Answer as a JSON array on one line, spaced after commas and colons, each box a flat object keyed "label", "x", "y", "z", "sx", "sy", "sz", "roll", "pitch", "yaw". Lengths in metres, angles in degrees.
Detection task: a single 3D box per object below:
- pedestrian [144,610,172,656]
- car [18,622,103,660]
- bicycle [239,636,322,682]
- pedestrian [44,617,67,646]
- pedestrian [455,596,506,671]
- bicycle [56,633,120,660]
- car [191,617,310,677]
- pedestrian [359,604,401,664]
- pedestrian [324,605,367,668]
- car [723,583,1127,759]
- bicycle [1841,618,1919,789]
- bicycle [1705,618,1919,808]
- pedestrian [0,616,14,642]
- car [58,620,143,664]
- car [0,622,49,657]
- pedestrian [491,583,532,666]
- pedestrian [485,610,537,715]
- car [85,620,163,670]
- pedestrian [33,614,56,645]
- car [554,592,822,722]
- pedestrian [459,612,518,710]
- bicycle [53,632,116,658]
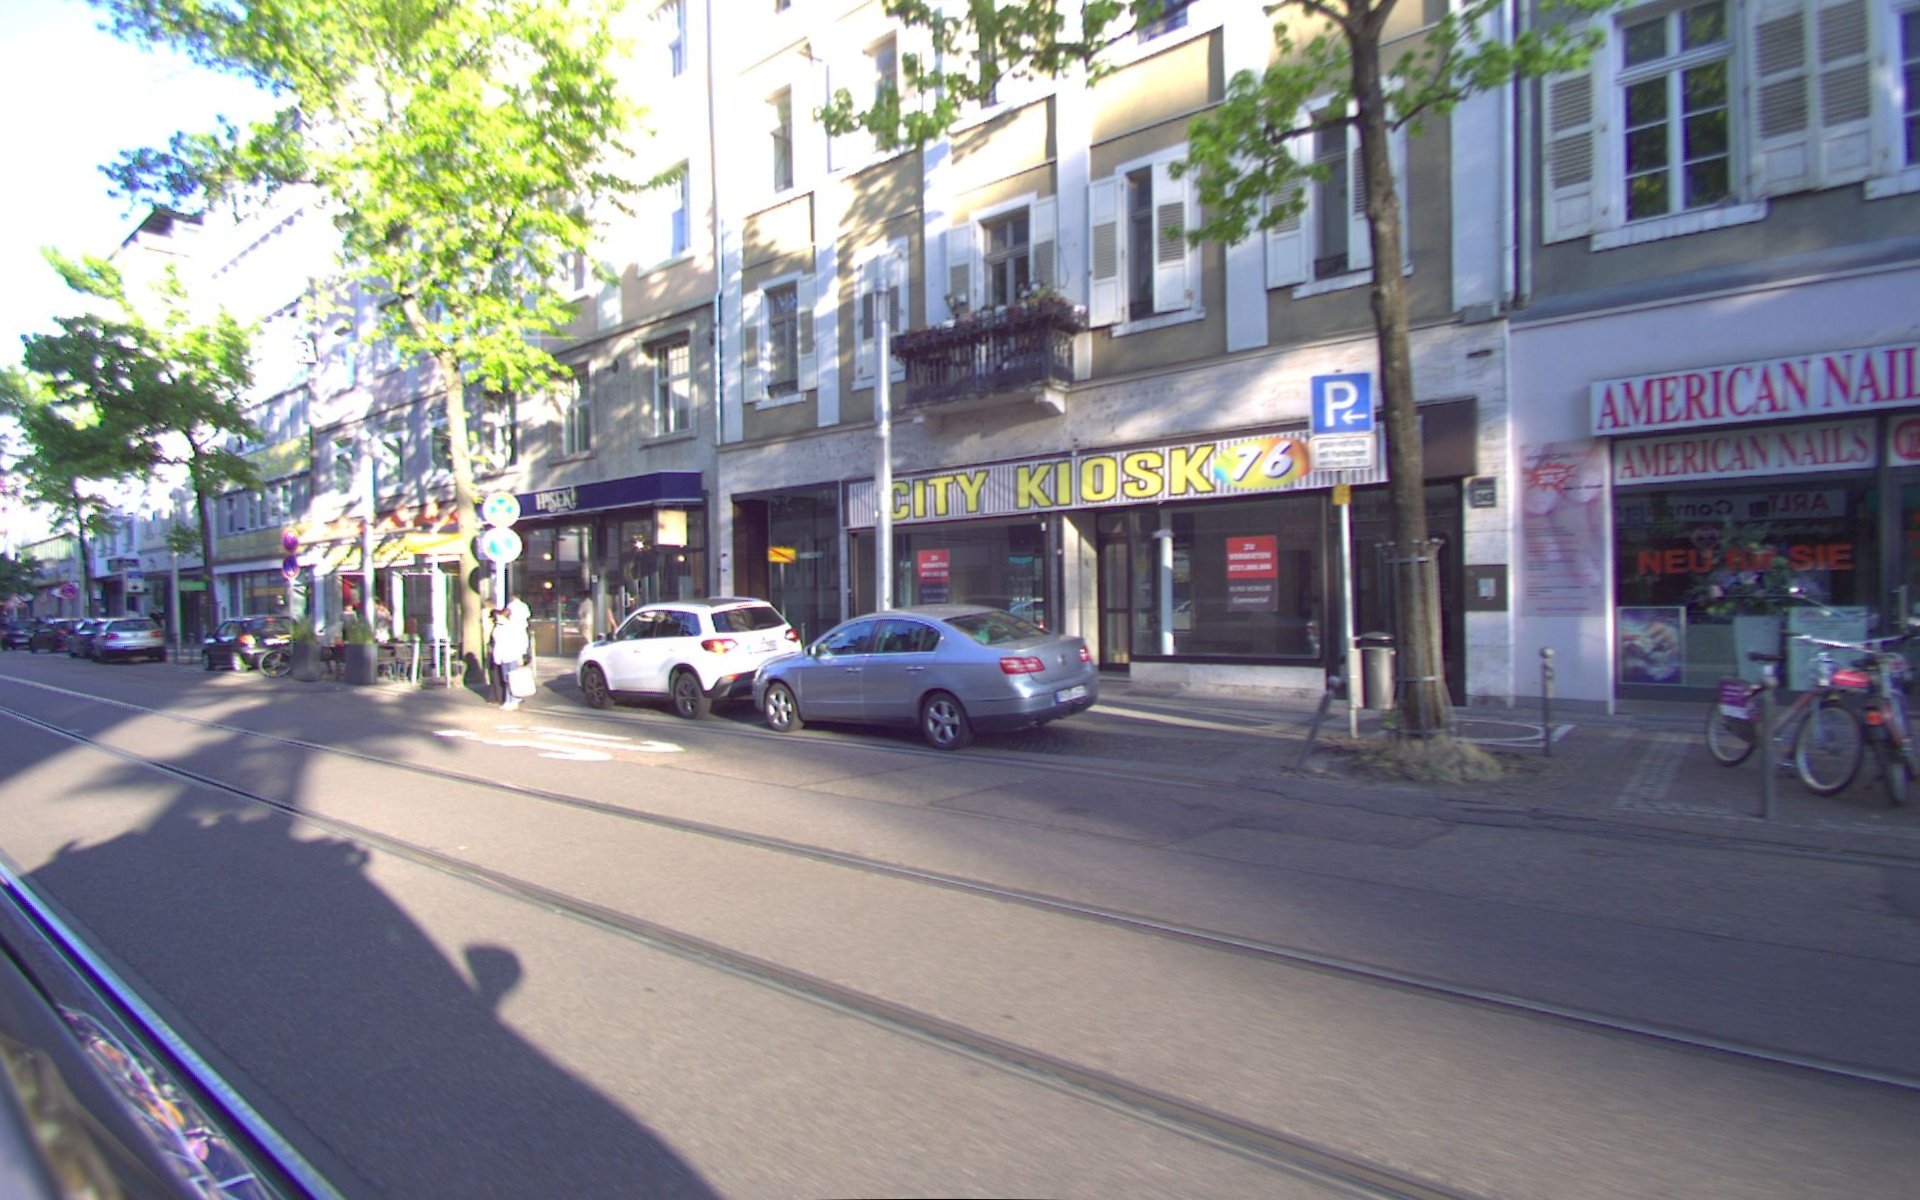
[{"label": "pedestrian", "x": -33.568, "y": 1.380, "z": 42.356, "sx": 0.878, "sy": 1.839, "sz": 0.653, "roll": -2, "pitch": 2, "yaw": 40}, {"label": "car", "x": -39.982, "y": 1.796, "z": 44.954, "sx": 4.231, "sy": 1.501, "sz": 1.777, "roll": -1, "pitch": 1, "yaw": 34}, {"label": "bicycle", "x": -16.675, "y": 1.436, "z": 24.867, "sx": 0.433, "sy": 0.972, "sz": 1.598, "roll": -2, "pitch": 1, "yaw": 45}, {"label": "pedestrian", "x": -56.033, "y": 1.950, "z": 62.686, "sx": 1.037, "sy": 1.708, "sz": 0.824, "roll": -2, "pitch": 2, "yaw": 40}, {"label": "pedestrian", "x": -11.637, "y": 0.796, "z": 24.562, "sx": 1.089, "sy": 1.773, "sz": 0.714, "roll": -2, "pitch": -1, "yaw": 40}, {"label": "bicycle", "x": -35.399, "y": 1.863, "z": 41.090, "sx": 0.330, "sy": 1.009, "sz": 1.950, "roll": -2, "pitch": -1, "yaw": 42}, {"label": "car", "x": -19.534, "y": 1.261, "z": 27.805, "sx": 3.823, "sy": 1.439, "sz": 1.650, "roll": -1, "pitch": 2, "yaw": 39}, {"label": "pedestrian", "x": -16.762, "y": 0.977, "z": 29.251, "sx": 0.912, "sy": 1.706, "sz": 0.781, "roll": -2, "pitch": -1, "yaw": 39}, {"label": "pedestrian", "x": -17.092, "y": 1.013, "z": 28.146, "sx": 0.739, "sy": 1.706, "sz": 0.835, "roll": -2, "pitch": -1, "yaw": 39}, {"label": "car", "x": -0.569, "y": 0.712, "z": 11.925, "sx": 4.698, "sy": 1.591, "sz": 1.818, "roll": -1, "pitch": 3, "yaw": 40}, {"label": "bicycle", "x": 6.733, "y": 0.730, "z": 6.668, "sx": 0.496, "sy": 1.113, "sz": 2.106, "roll": -1, "pitch": 1, "yaw": 14}, {"label": "bicycle", "x": 6.221, "y": 0.738, "z": 7.378, "sx": 0.562, "sy": 1.113, "sz": 1.943, "roll": -1, "pitch": 1, "yaw": 14}, {"label": "pedestrian", "x": -65.727, "y": 1.981, "z": 69.798, "sx": 0.829, "sy": 1.725, "sz": 0.634, "roll": -2, "pitch": 0, "yaw": 43}, {"label": "car", "x": -32.696, "y": 1.571, "z": 38.456, "sx": 4.482, "sy": 1.472, "sz": 1.694, "roll": -1, "pitch": 1, "yaw": 40}, {"label": "car", "x": -46.541, "y": 1.933, "z": 50.157, "sx": 1.609, "sy": 1.628, "sz": 3.717, "roll": -3, "pitch": 1, "yaw": -35}, {"label": "pedestrian", "x": -11.127, "y": 0.596, "z": 25.110, "sx": 0.642, "sy": 2.029, "sz": 0.715, "roll": -2, "pitch": -1, "yaw": 40}, {"label": "pedestrian", "x": -6.981, "y": 0.951, "z": 15.741, "sx": 0.633, "sy": 1.581, "sz": 0.515, "roll": 0, "pitch": 0, "yaw": 40}, {"label": "car", "x": -28.094, "y": 1.450, "z": 33.979, "sx": 1.746, "sy": 1.508, "sz": 4.179, "roll": -1, "pitch": 0, "yaw": -43}, {"label": "pedestrian", "x": -53.243, "y": 1.699, "z": 58.853, "sx": 0.830, "sy": 1.779, "sz": 0.842, "roll": -2, "pitch": -1, "yaw": 37}, {"label": "car", "x": -4.197, "y": 0.784, "z": 15.297, "sx": 4.113, "sy": 1.591, "sz": 1.818, "roll": -1, "pitch": 3, "yaw": 40}, {"label": "pedestrian", "x": -7.576, "y": 0.953, "z": 16.256, "sx": 0.729, "sy": 1.521, "sz": 0.613, "roll": 0, "pitch": 0, "yaw": 40}, {"label": "bicycle", "x": -36.583, "y": 1.880, "z": 42.314, "sx": 0.330, "sy": 1.009, "sz": 1.950, "roll": -2, "pitch": -1, "yaw": 42}]
